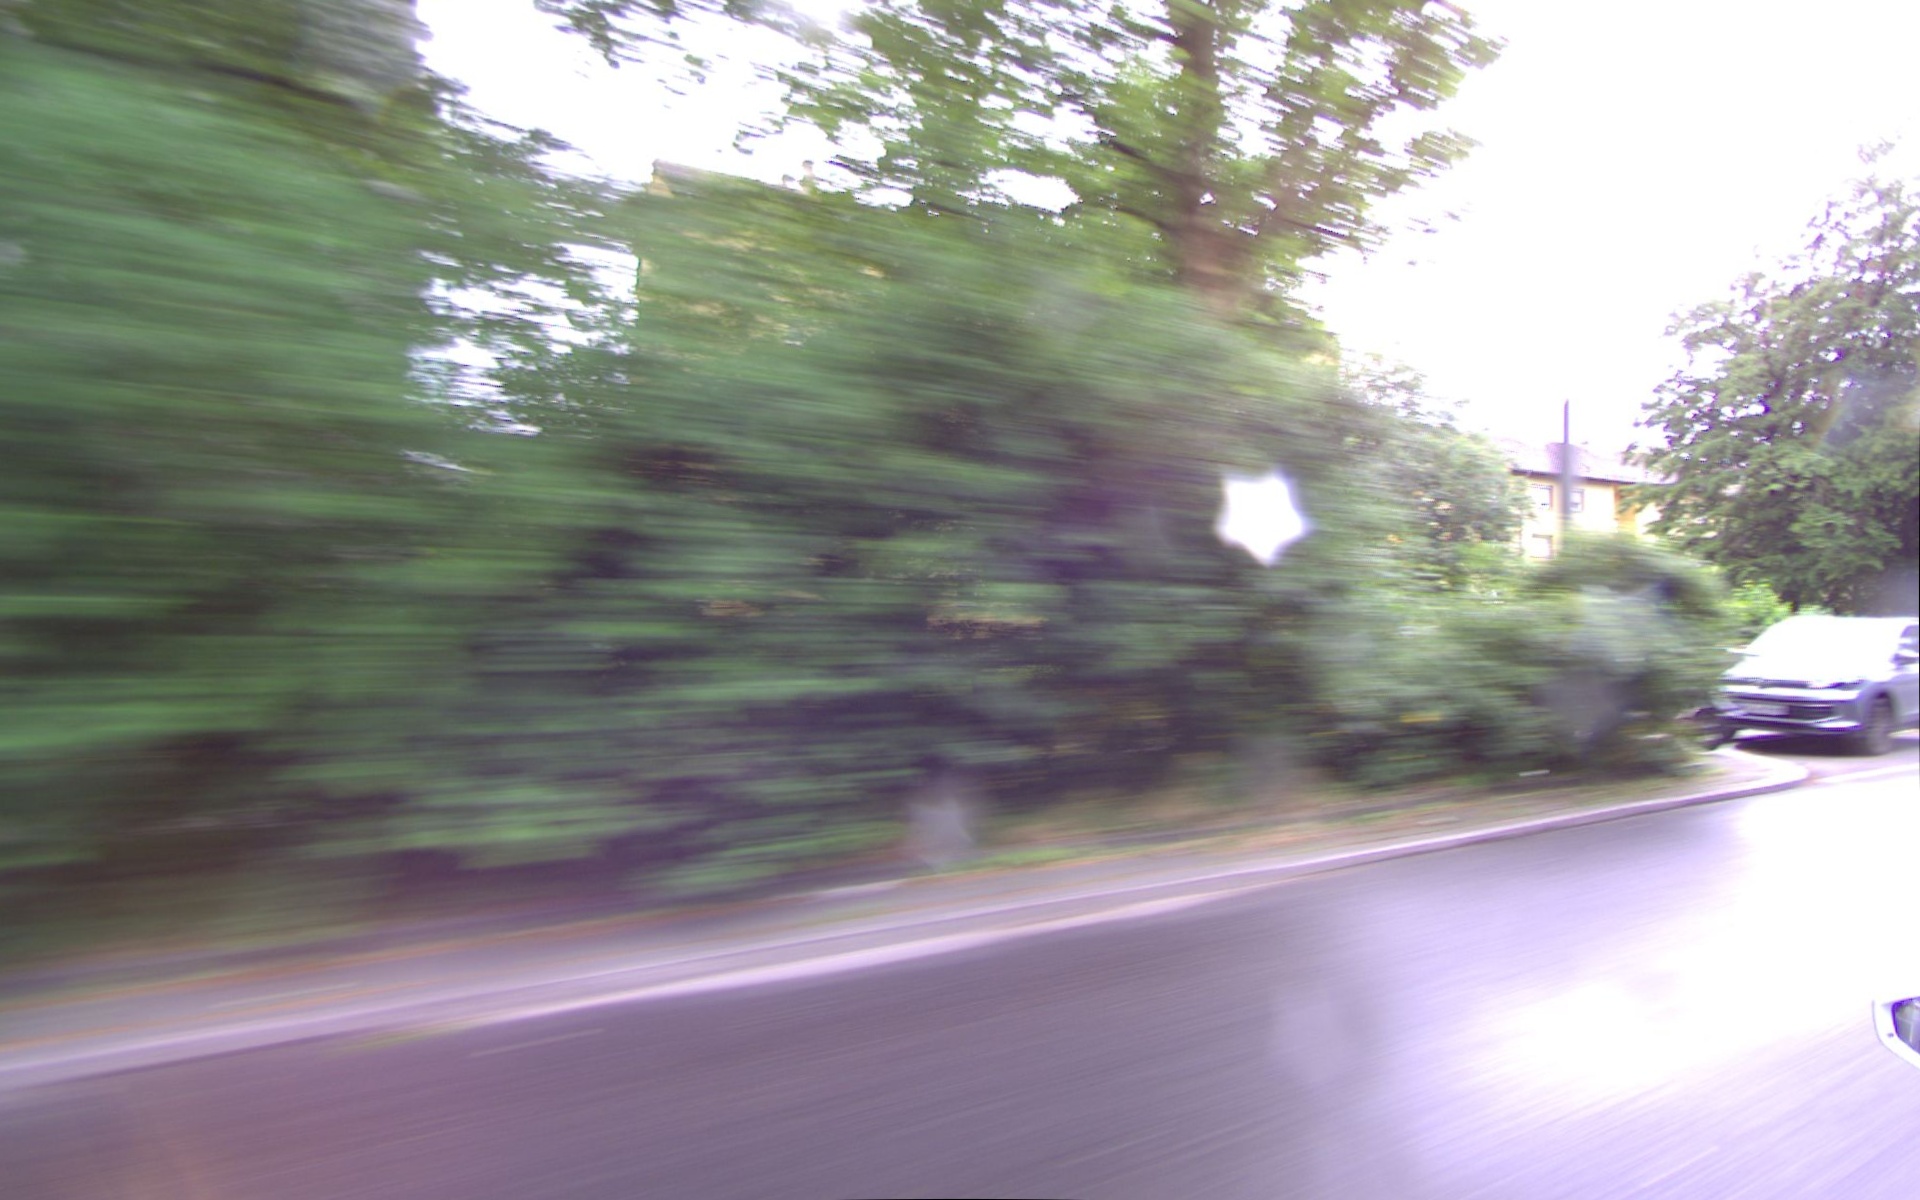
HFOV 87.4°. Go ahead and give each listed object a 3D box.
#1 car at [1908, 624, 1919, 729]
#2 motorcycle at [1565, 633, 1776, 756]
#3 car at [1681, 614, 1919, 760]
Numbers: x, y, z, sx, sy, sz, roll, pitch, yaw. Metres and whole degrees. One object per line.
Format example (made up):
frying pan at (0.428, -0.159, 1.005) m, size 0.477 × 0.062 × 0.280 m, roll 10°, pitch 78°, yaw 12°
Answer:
car at (16.987, 1.164, 15.894) m, size 4.192 × 1.612 × 1.855 m, roll 1°, pitch -4°, yaw -32°
motorcycle at (8.341, 1.100, 11.891) m, size 0.774 × 1.332 × 1.832 m, roll 1°, pitch -4°, yaw -30°
car at (11.852, 1.090, 13.477) m, size 4.509 × 1.678 × 1.727 m, roll 0°, pitch -5°, yaw -29°
